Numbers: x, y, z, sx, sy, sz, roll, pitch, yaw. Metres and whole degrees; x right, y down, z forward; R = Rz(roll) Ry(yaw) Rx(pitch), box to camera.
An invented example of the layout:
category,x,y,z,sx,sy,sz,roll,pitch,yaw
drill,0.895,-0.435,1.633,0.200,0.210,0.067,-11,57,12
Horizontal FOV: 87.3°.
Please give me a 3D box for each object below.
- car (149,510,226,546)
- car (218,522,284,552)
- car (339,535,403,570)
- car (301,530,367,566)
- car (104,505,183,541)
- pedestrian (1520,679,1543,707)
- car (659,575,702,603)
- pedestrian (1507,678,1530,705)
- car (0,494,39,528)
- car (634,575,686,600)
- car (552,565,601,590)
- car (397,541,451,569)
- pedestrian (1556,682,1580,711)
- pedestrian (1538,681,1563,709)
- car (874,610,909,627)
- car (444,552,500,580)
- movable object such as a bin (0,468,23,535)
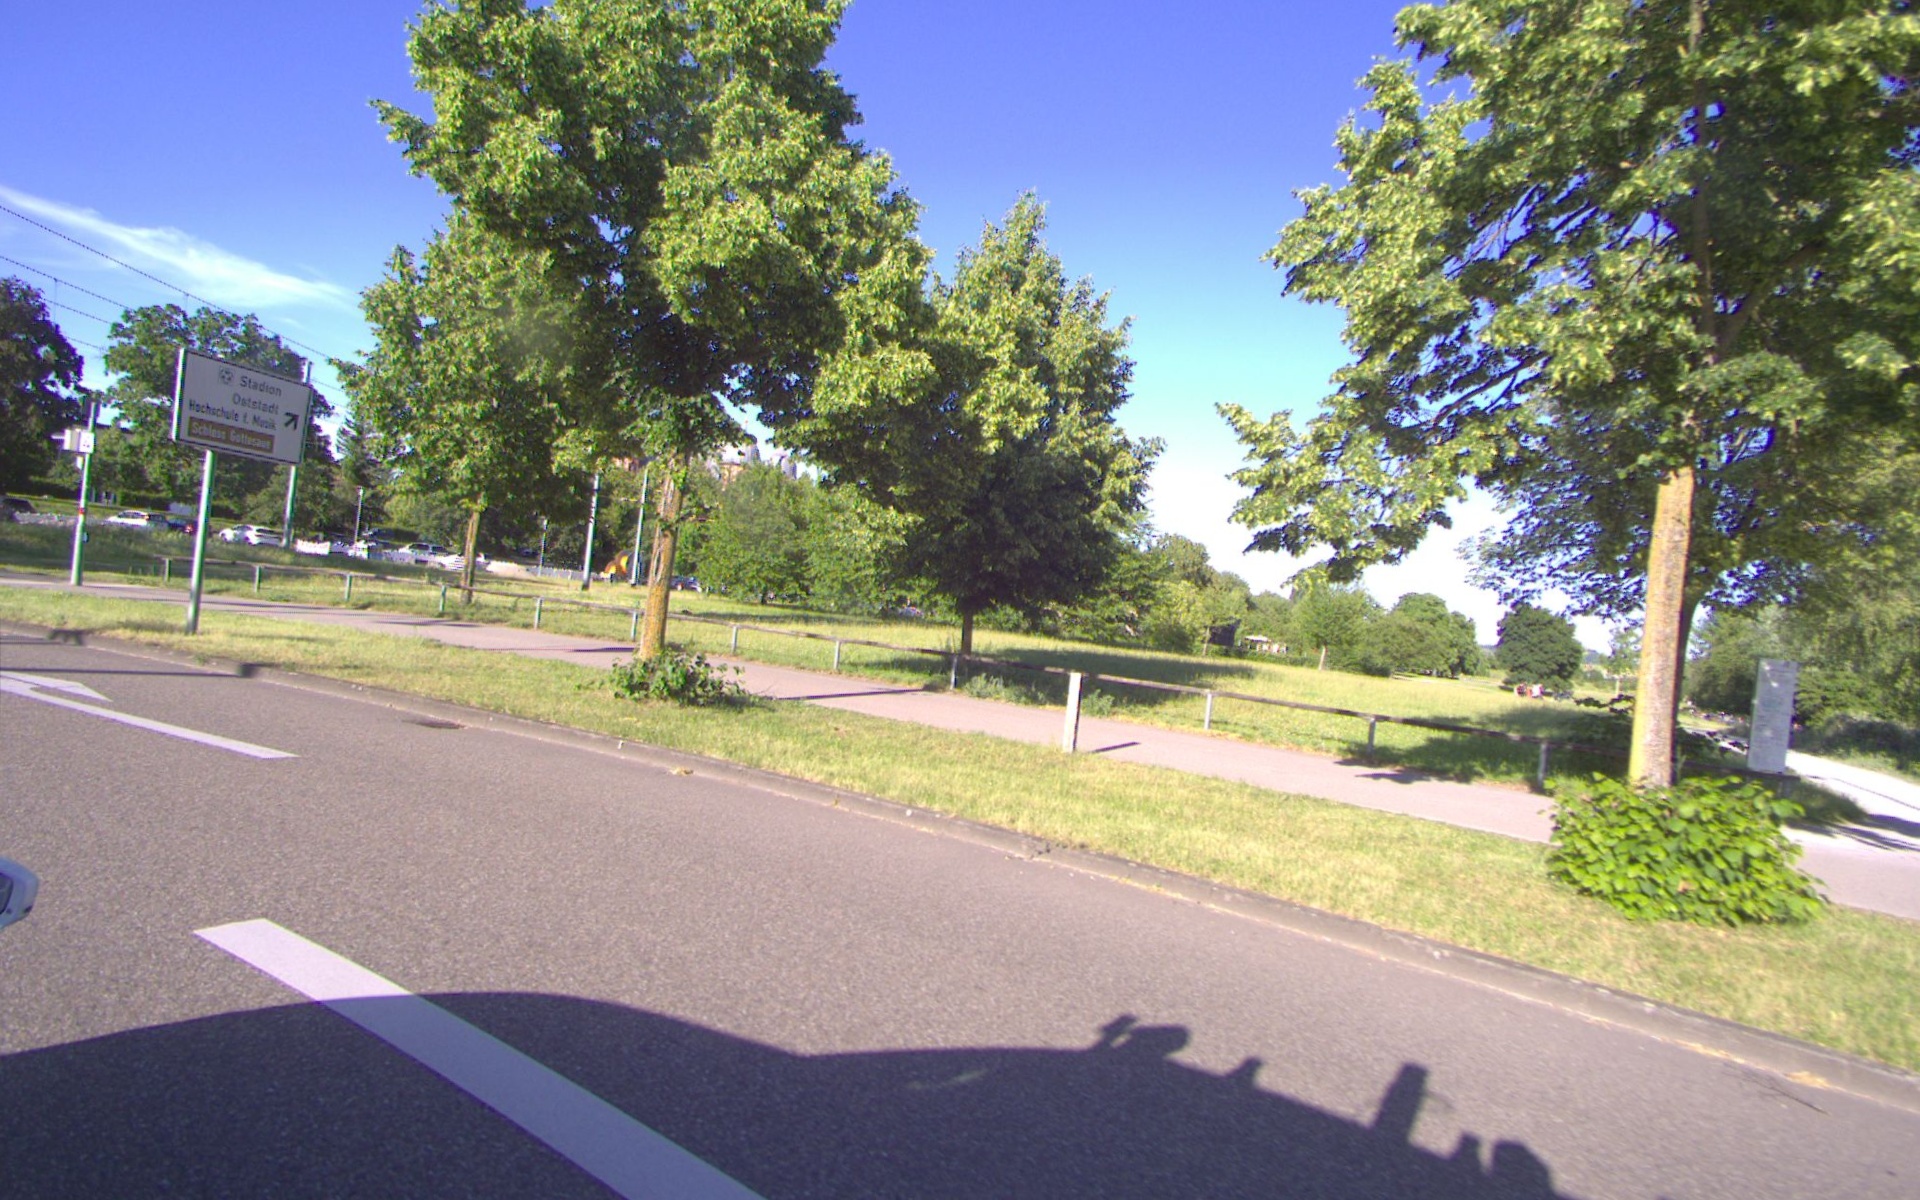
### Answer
category,x,y,z,sx,sy,sz,roll,pitch,yaw
car,-48.736,-4.522,63.486,3.927,1.789,2.000,5,-2,22
car,-47.617,-4.207,67.544,3.738,1.574,1.833,5,-2,24
car,-44.234,-3.559,75.512,3.927,2.124,2.000,5,-2,22
car,-45.255,-3.772,72.760,3.927,2.124,2.000,5,-2,22
car,-50.071,-4.695,61.693,3.927,1.743,2.000,5,-2,22
pedestrian,33.053,5.362,58.143,0.784,1.458,0.683,7,1,-23
car,-30.442,-1.207,109.687,3.927,2.684,2.000,5,-1,22
pedestrian,32.932,5.398,59.338,0.784,1.458,0.683,7,1,-23
car,-52.107,-4.892,54.323,3.878,1.575,1.926,5,-2,22
car,-26.720,-1.078,89.687,3.927,1.776,2.000,5,-2,22
car,-36.529,-2.146,95.744,3.927,1.918,2.000,5,-2,22
car,-42.607,-3.598,79.950,3.779,1.800,1.694,5,-2,26
pedestrian,33.911,5.364,56.085,0.784,1.458,0.658,7,1,-23
pedestrian,33.703,5.396,57.387,0.784,1.458,0.770,7,1,-23
car,-8.939,2.368,131.533,3.927,1.776,1.915,5,-2,22
car,-41.003,-2.854,84.556,3.927,1.982,2.000,5,-2,22
movable object such as a bin,-44.202,-4.552,44.017,4.951,2.821,2.002,5,-1,11
